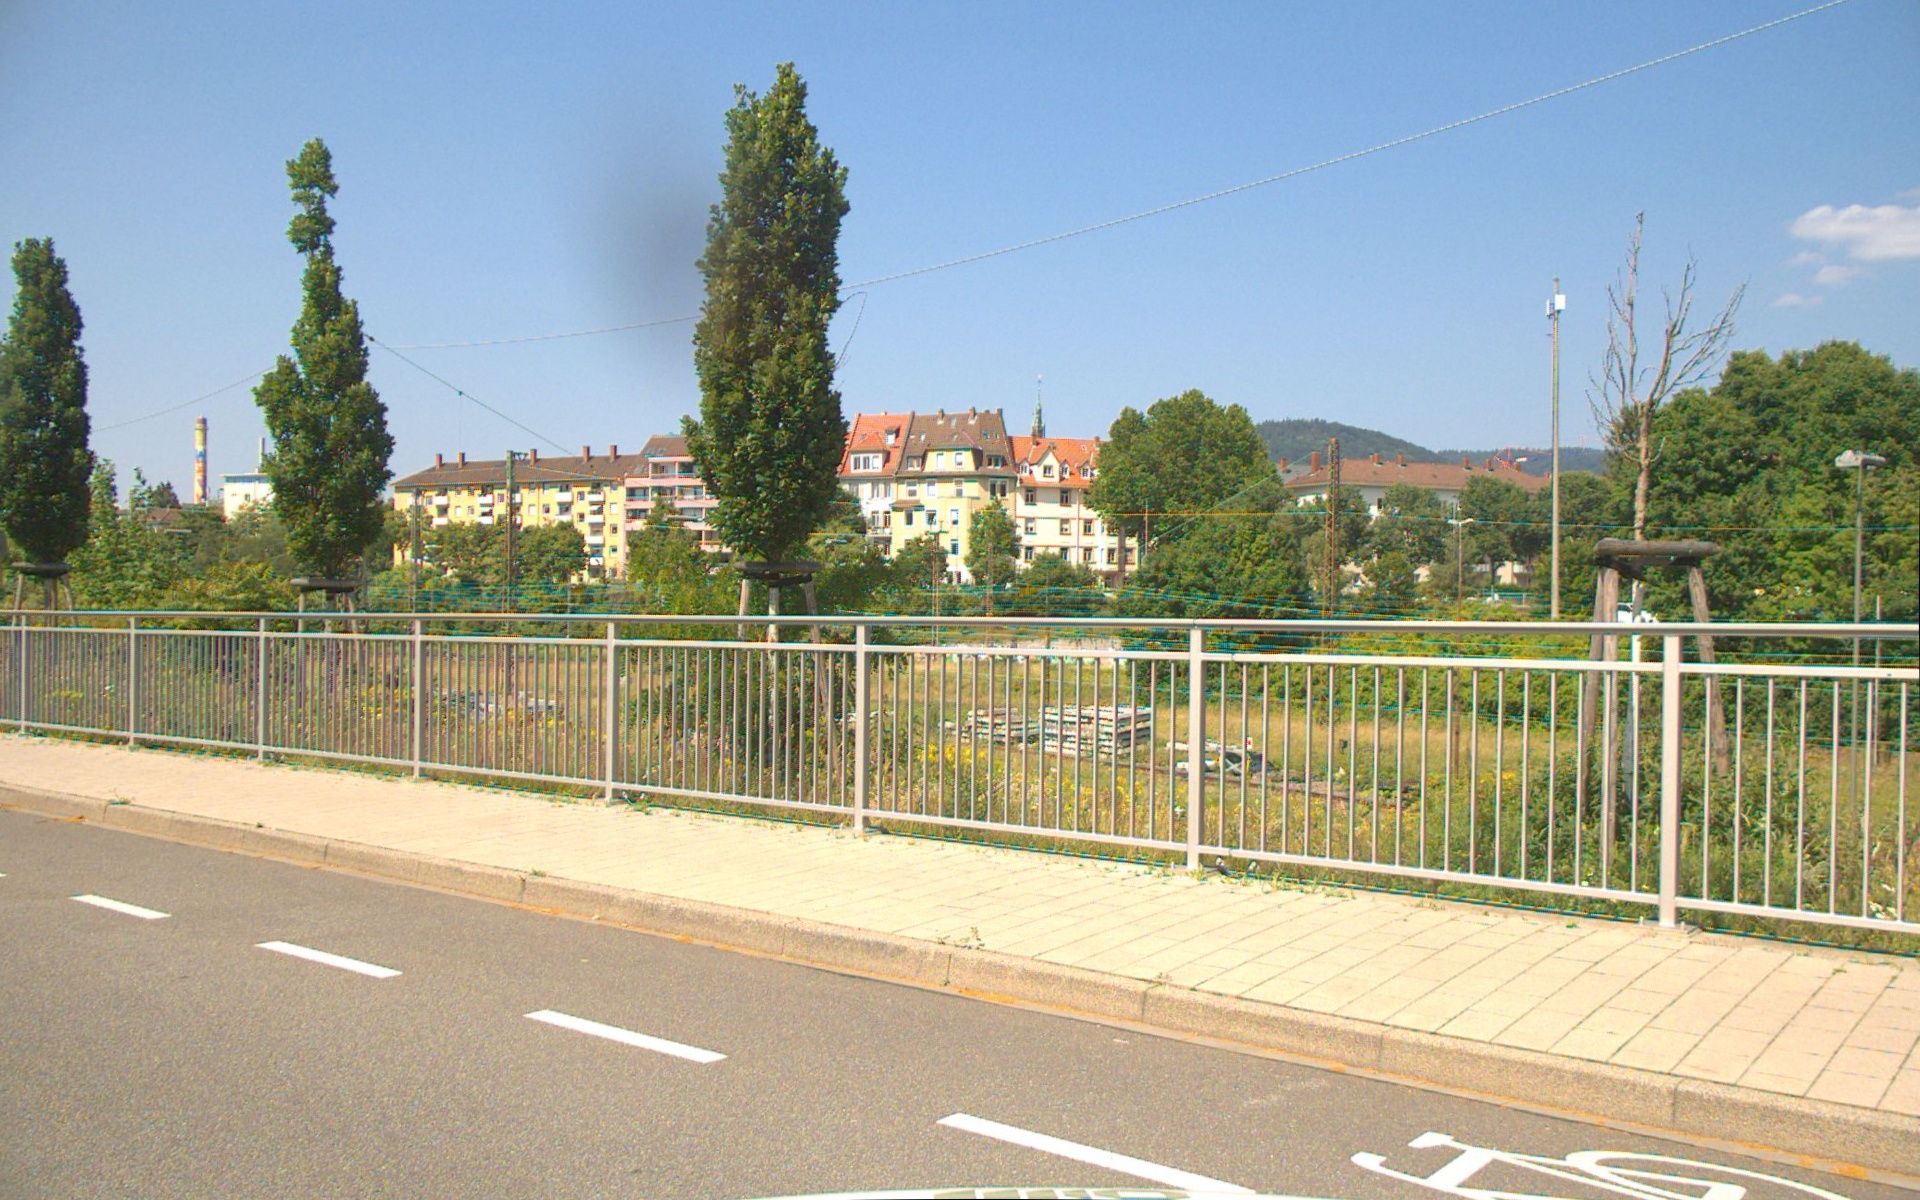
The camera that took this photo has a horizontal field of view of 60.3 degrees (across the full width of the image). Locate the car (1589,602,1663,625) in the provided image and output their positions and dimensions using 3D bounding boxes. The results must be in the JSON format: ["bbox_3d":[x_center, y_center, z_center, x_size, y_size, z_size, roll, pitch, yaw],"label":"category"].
[{"bbox_3d":[41.012,0.806,101.970,1.834,1.391,4.287,0,0,-22],"label":"car"}]
